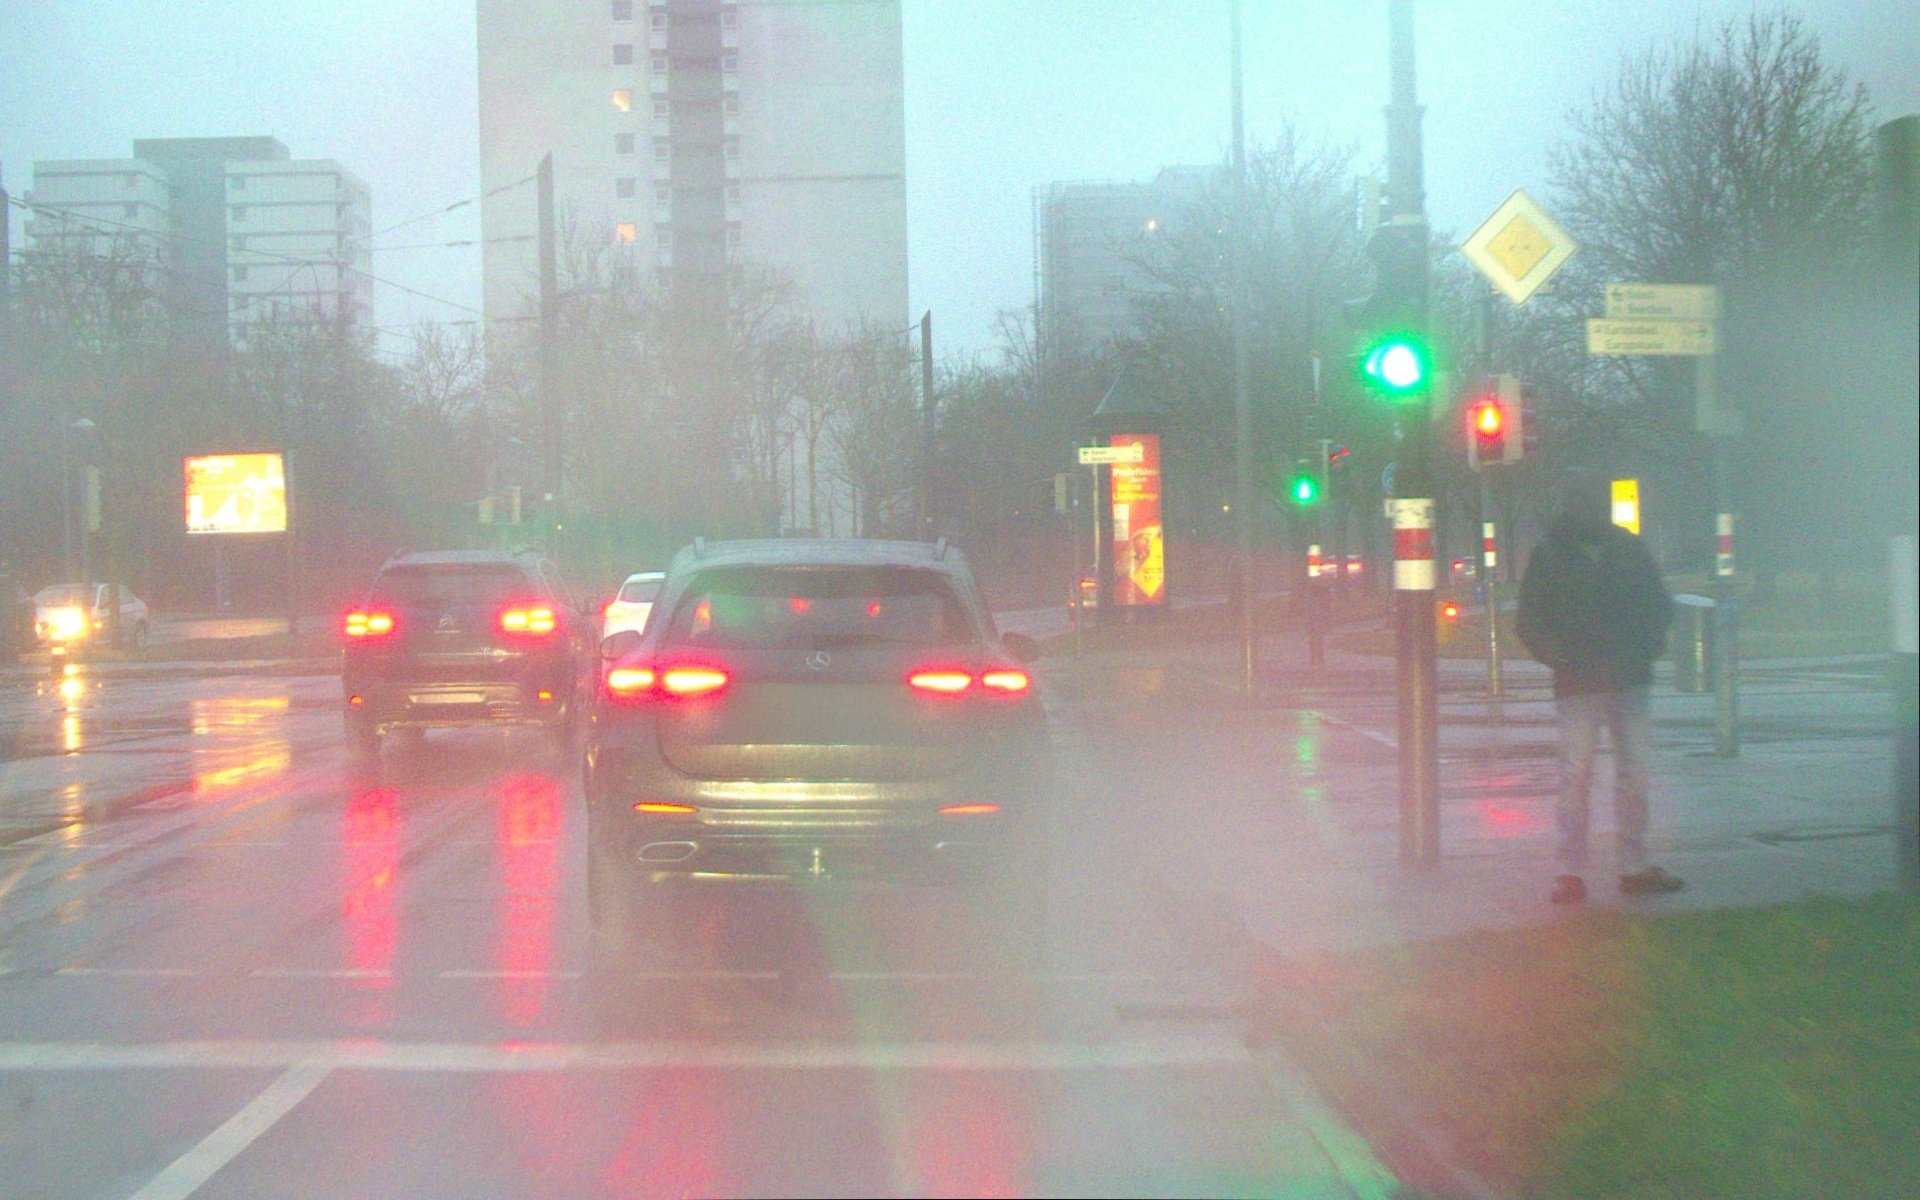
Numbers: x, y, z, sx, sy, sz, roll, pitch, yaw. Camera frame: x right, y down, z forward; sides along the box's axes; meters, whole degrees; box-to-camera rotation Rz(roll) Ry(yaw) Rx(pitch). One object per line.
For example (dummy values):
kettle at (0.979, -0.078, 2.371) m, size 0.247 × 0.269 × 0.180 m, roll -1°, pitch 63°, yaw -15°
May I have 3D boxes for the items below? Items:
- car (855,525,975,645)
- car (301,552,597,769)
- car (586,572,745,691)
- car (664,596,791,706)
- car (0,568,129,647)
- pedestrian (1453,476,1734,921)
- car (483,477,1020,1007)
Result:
car at (-0.696, -0.221, 56.171) m, size 1.856 × 1.885 × 4.000 m, roll 0°, pitch -1°, yaw 1°
car at (-4.248, 0.492, 29.207) m, size 1.993 × 1.706 × 4.325 m, roll 0°, pitch -1°, yaw -2°
car at (-4.194, 0.452, 49.483) m, size 1.993 × 1.637 × 4.022 m, roll 0°, pitch -1°, yaw -1°
car at (-4.330, 0.945, 64.512) m, size 1.993 × 2.007 × 4.000 m, roll 0°, pitch -1°, yaw 2°
car at (-18.074, 0.169, 69.360) m, size 1.587 × 1.524 × 4.934 m, roll 0°, pitch 0°, yaw -2°
pedestrian at (2.653, 0.398, 14.342) m, size 0.797 × 1.744 × 0.860 m, roll -5°, pitch 1°, yaw 26°
car at (-0.848, 0.547, 14.850) m, size 1.993 × 1.969 × 4.068 m, roll 0°, pitch -1°, yaw -2°
